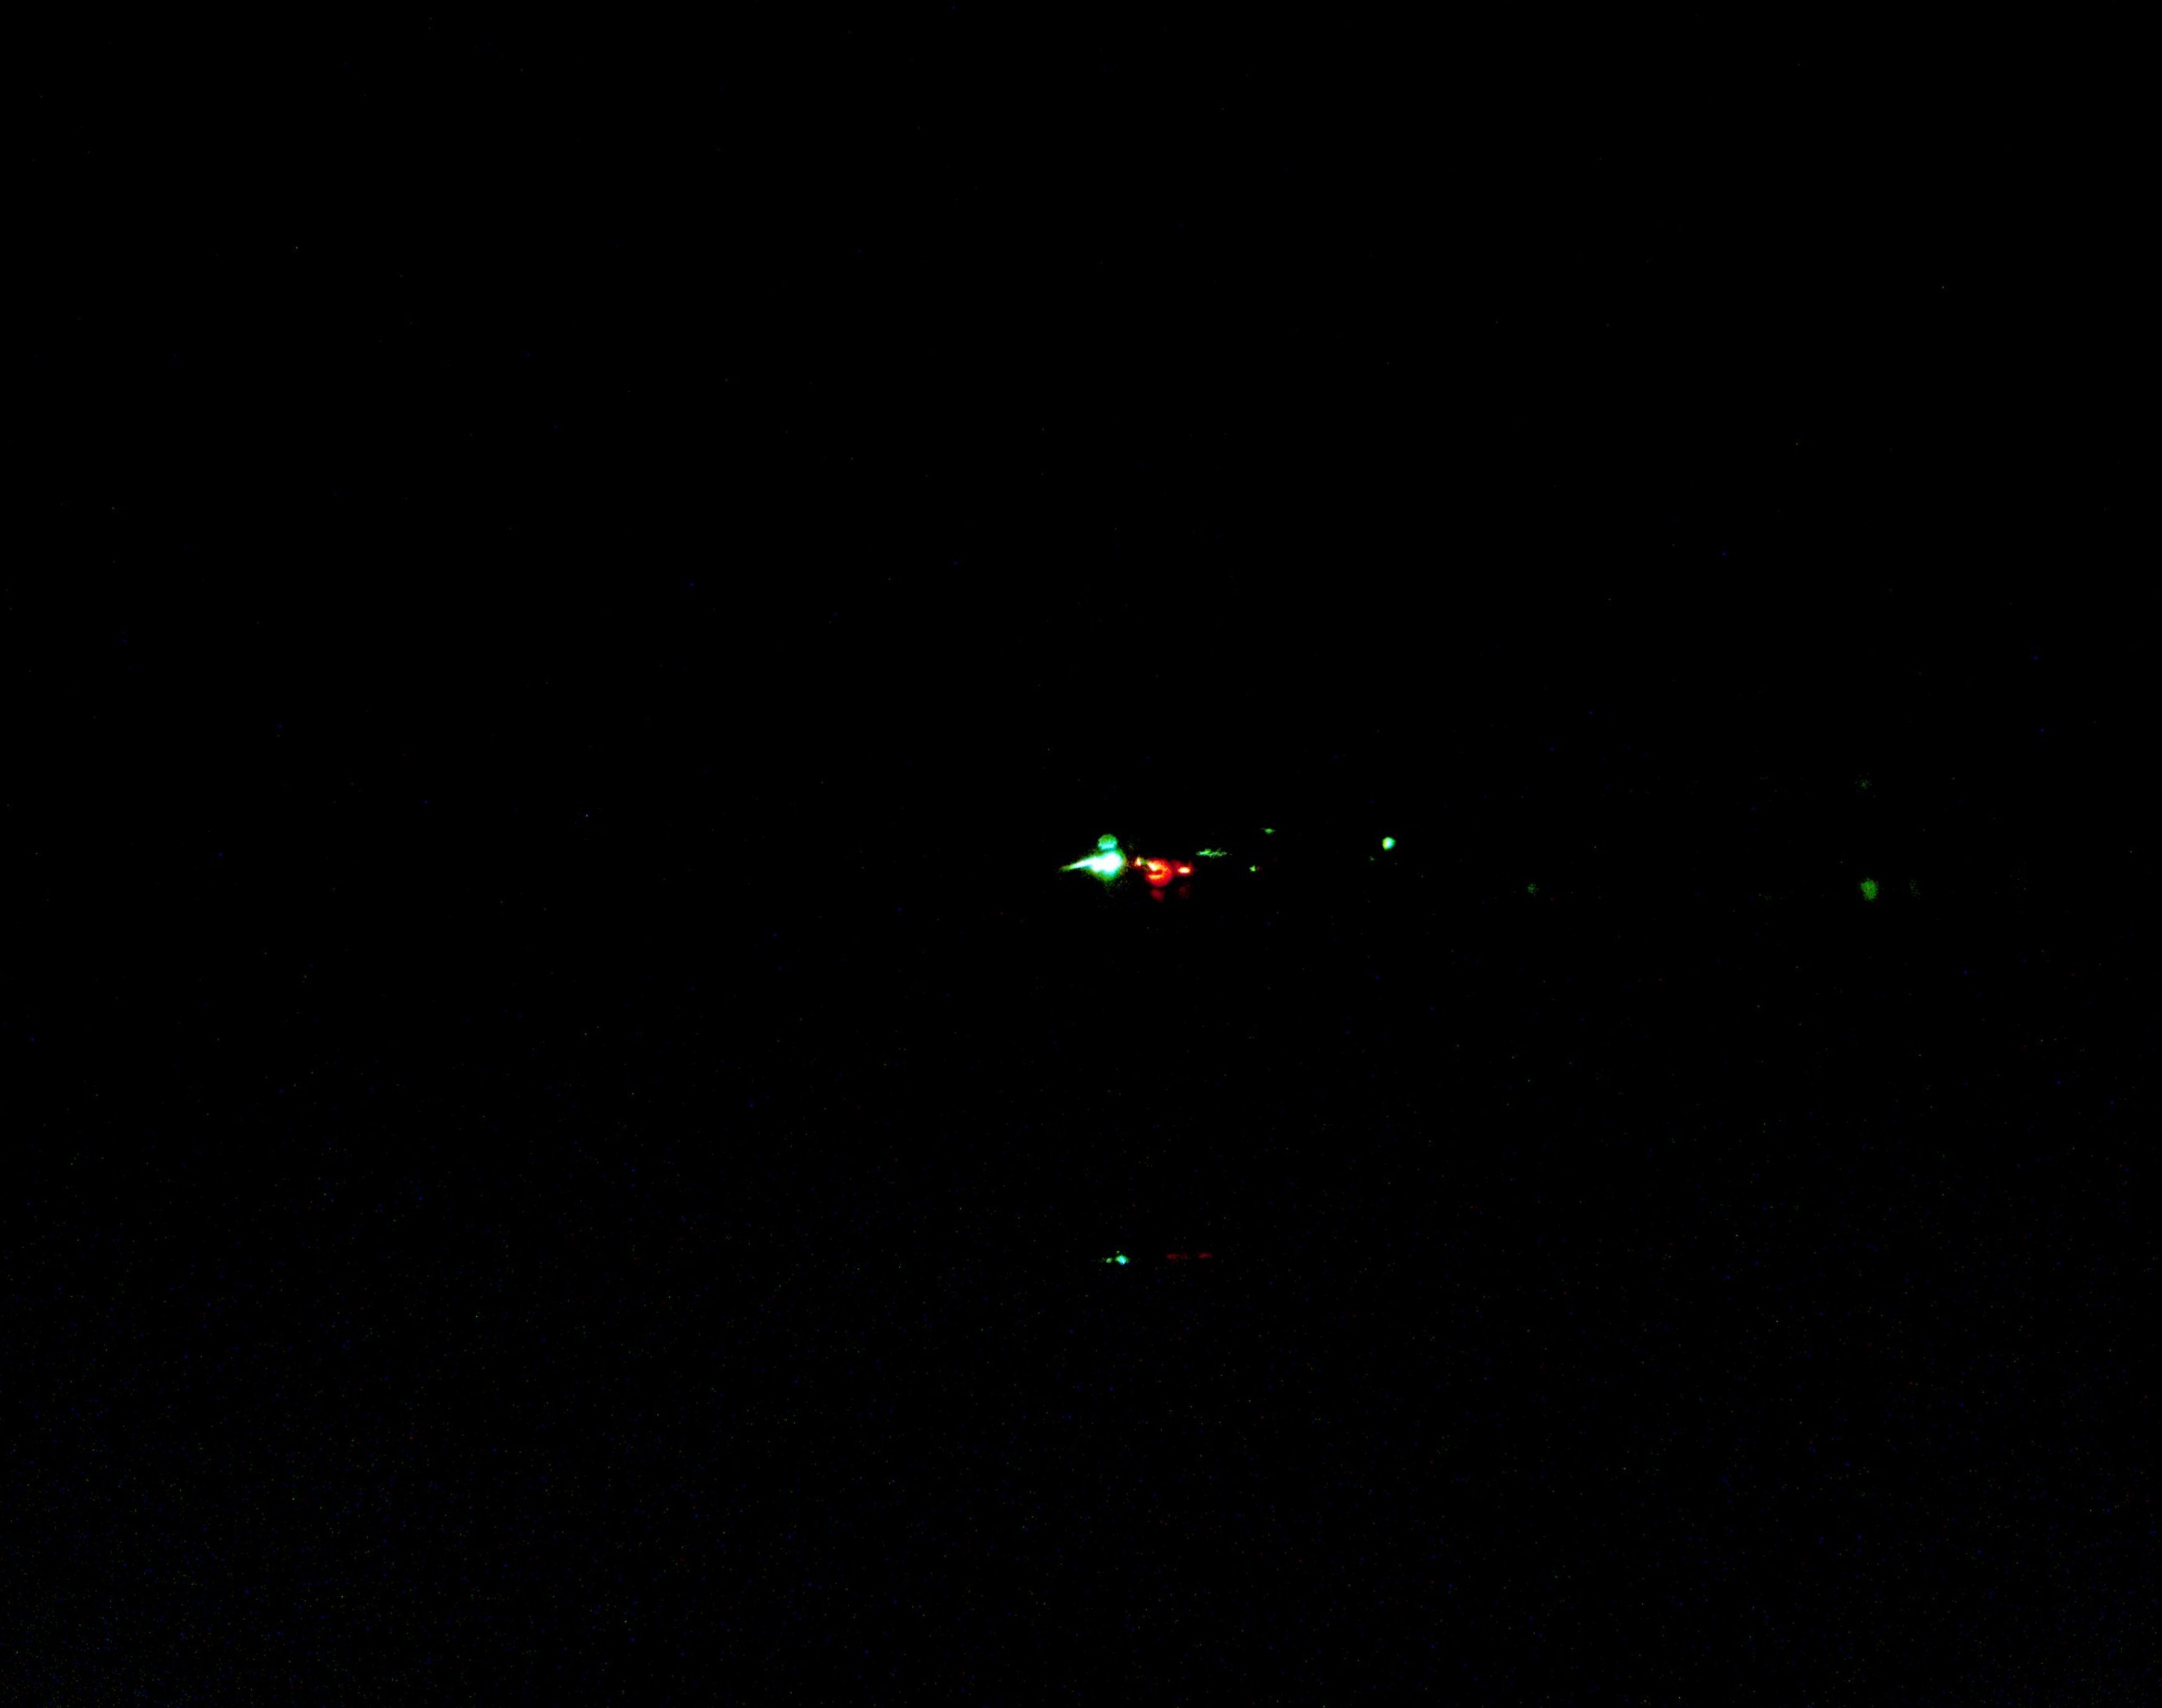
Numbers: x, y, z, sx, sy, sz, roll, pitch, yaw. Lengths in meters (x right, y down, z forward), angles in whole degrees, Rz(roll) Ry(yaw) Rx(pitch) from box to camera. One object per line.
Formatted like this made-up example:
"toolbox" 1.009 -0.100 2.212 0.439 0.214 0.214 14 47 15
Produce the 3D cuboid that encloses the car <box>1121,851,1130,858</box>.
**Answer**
"car" 8.681 0.057 147.617 1.645 1.351 3.681 -2 0 1

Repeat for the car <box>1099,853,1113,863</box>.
"car" 4.122 0.665 124.054 1.745 1.623 3.738 -1 0 9

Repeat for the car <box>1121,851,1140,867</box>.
"car" 5.380 0.518 83.681 1.873 1.603 3.847 -2 0 1

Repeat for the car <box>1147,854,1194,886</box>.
"car" 4.323 0.738 37.245 1.873 1.439 4.393 -2 0 1
